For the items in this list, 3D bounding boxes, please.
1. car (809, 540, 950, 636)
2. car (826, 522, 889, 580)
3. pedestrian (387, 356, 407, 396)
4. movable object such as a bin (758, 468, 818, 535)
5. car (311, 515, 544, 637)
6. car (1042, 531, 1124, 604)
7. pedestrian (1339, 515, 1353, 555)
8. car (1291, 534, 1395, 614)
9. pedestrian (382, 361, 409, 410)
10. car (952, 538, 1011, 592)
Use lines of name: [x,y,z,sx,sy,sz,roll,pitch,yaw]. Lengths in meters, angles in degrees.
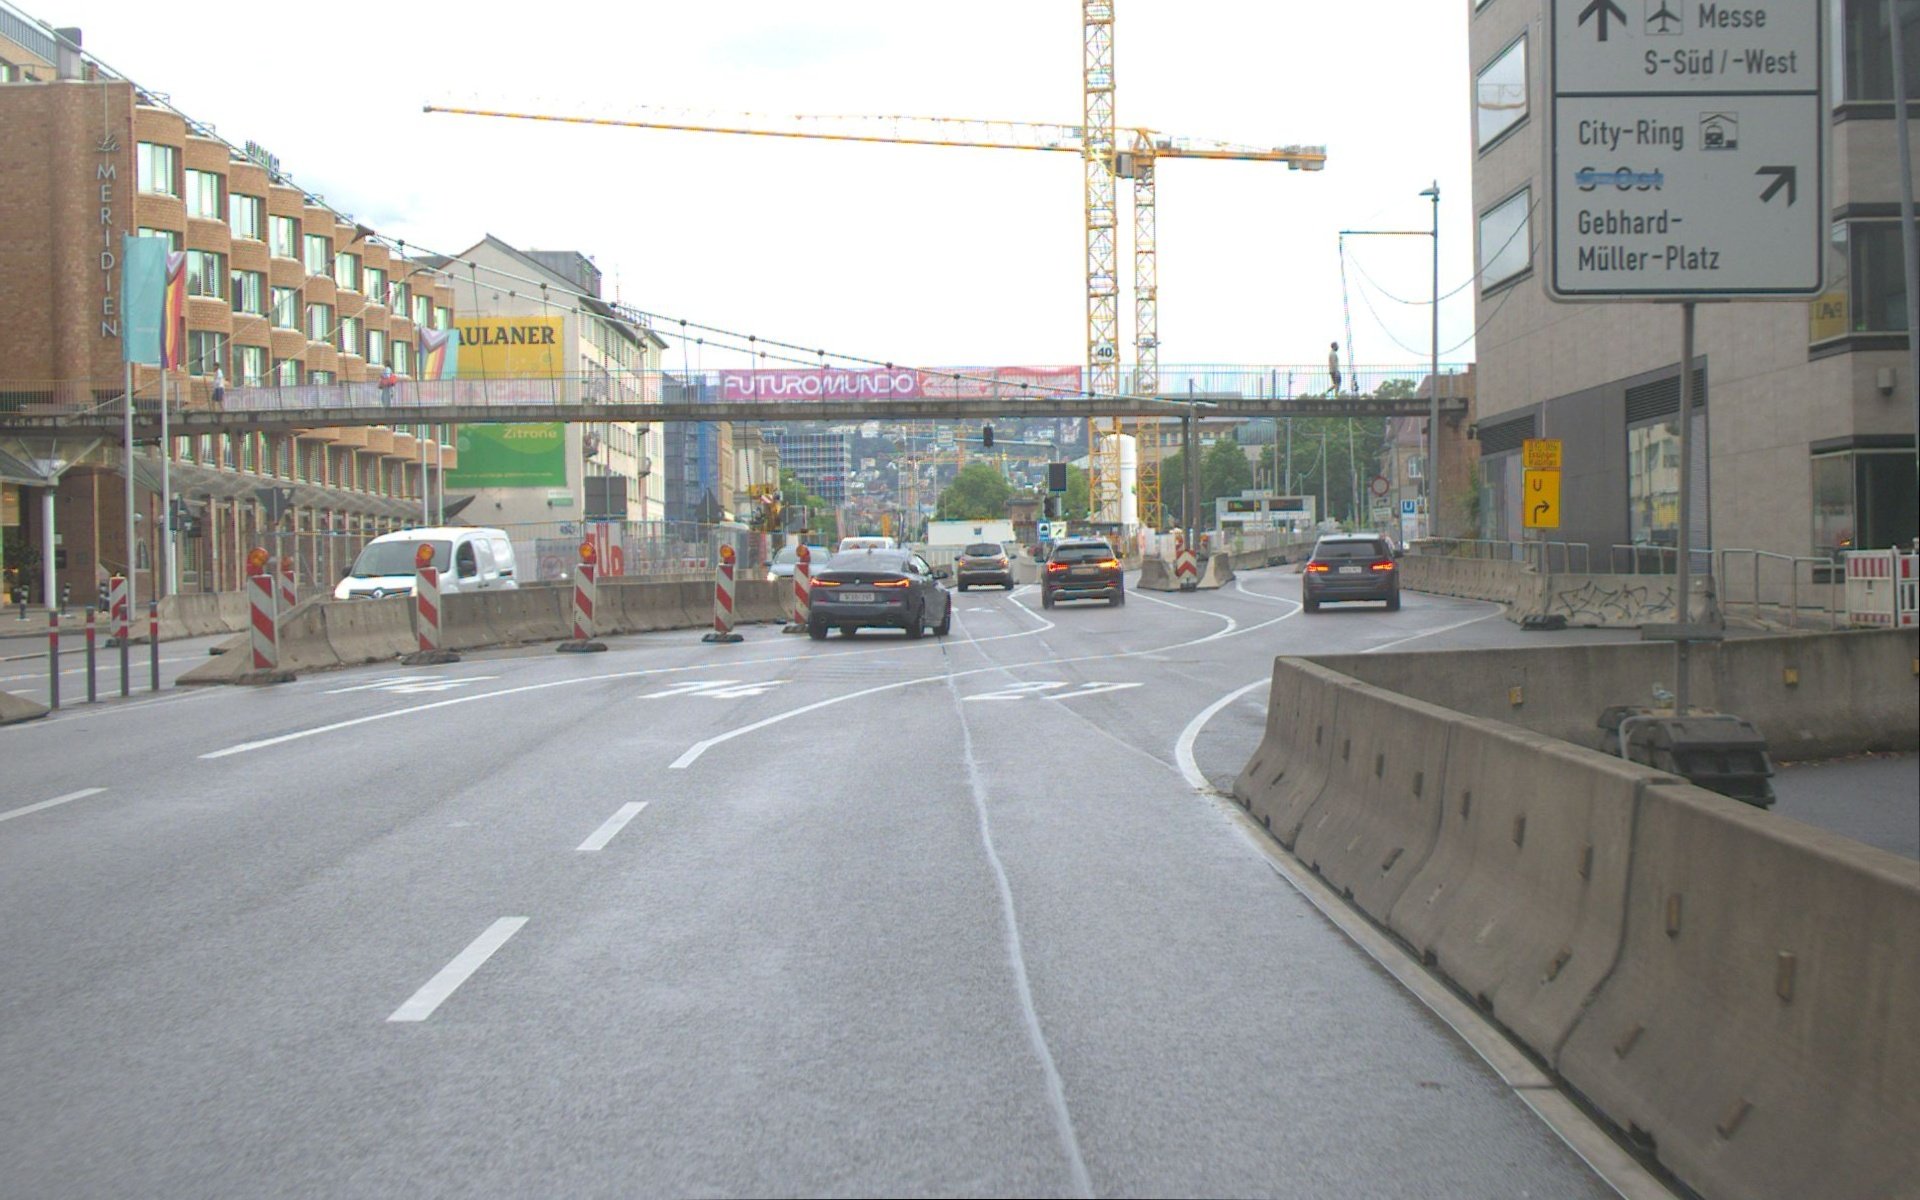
car: [-1.256,-0.223,55.428,1.863,1.438,4.656,-1,1,4]
car: [-3.432,-1.673,115.710,1.993,1.878,4.870,-1,1,0]
pedestrian: [-17.385,-6.913,106.108,0.475,1.190,0.484,-2,1,4]
movable object such as a bin: [-6.369,-3.622,127.515,2.026,2.269,4.293,-5,1,-3]
car: [-8.158,-0.406,53.152,1.887,1.777,4.874,-1,1,12]
car: [2.941,-0.797,81.327,1.863,1.655,4.656,-1,1,3]
pedestrian: [19.483,-3.275,173.564,0.626,2.007,0.663,-1,1,13]
car: [7.281,-0.518,65.259,1.863,1.428,4.655,-1,1,7]
pedestrian: [-17.389,-6.606,105.908,0.620,1.447,0.618,-2,1,4]
car: [0.701,-1.201,115.409,1.863,1.759,4.657,-1,1,-1]
